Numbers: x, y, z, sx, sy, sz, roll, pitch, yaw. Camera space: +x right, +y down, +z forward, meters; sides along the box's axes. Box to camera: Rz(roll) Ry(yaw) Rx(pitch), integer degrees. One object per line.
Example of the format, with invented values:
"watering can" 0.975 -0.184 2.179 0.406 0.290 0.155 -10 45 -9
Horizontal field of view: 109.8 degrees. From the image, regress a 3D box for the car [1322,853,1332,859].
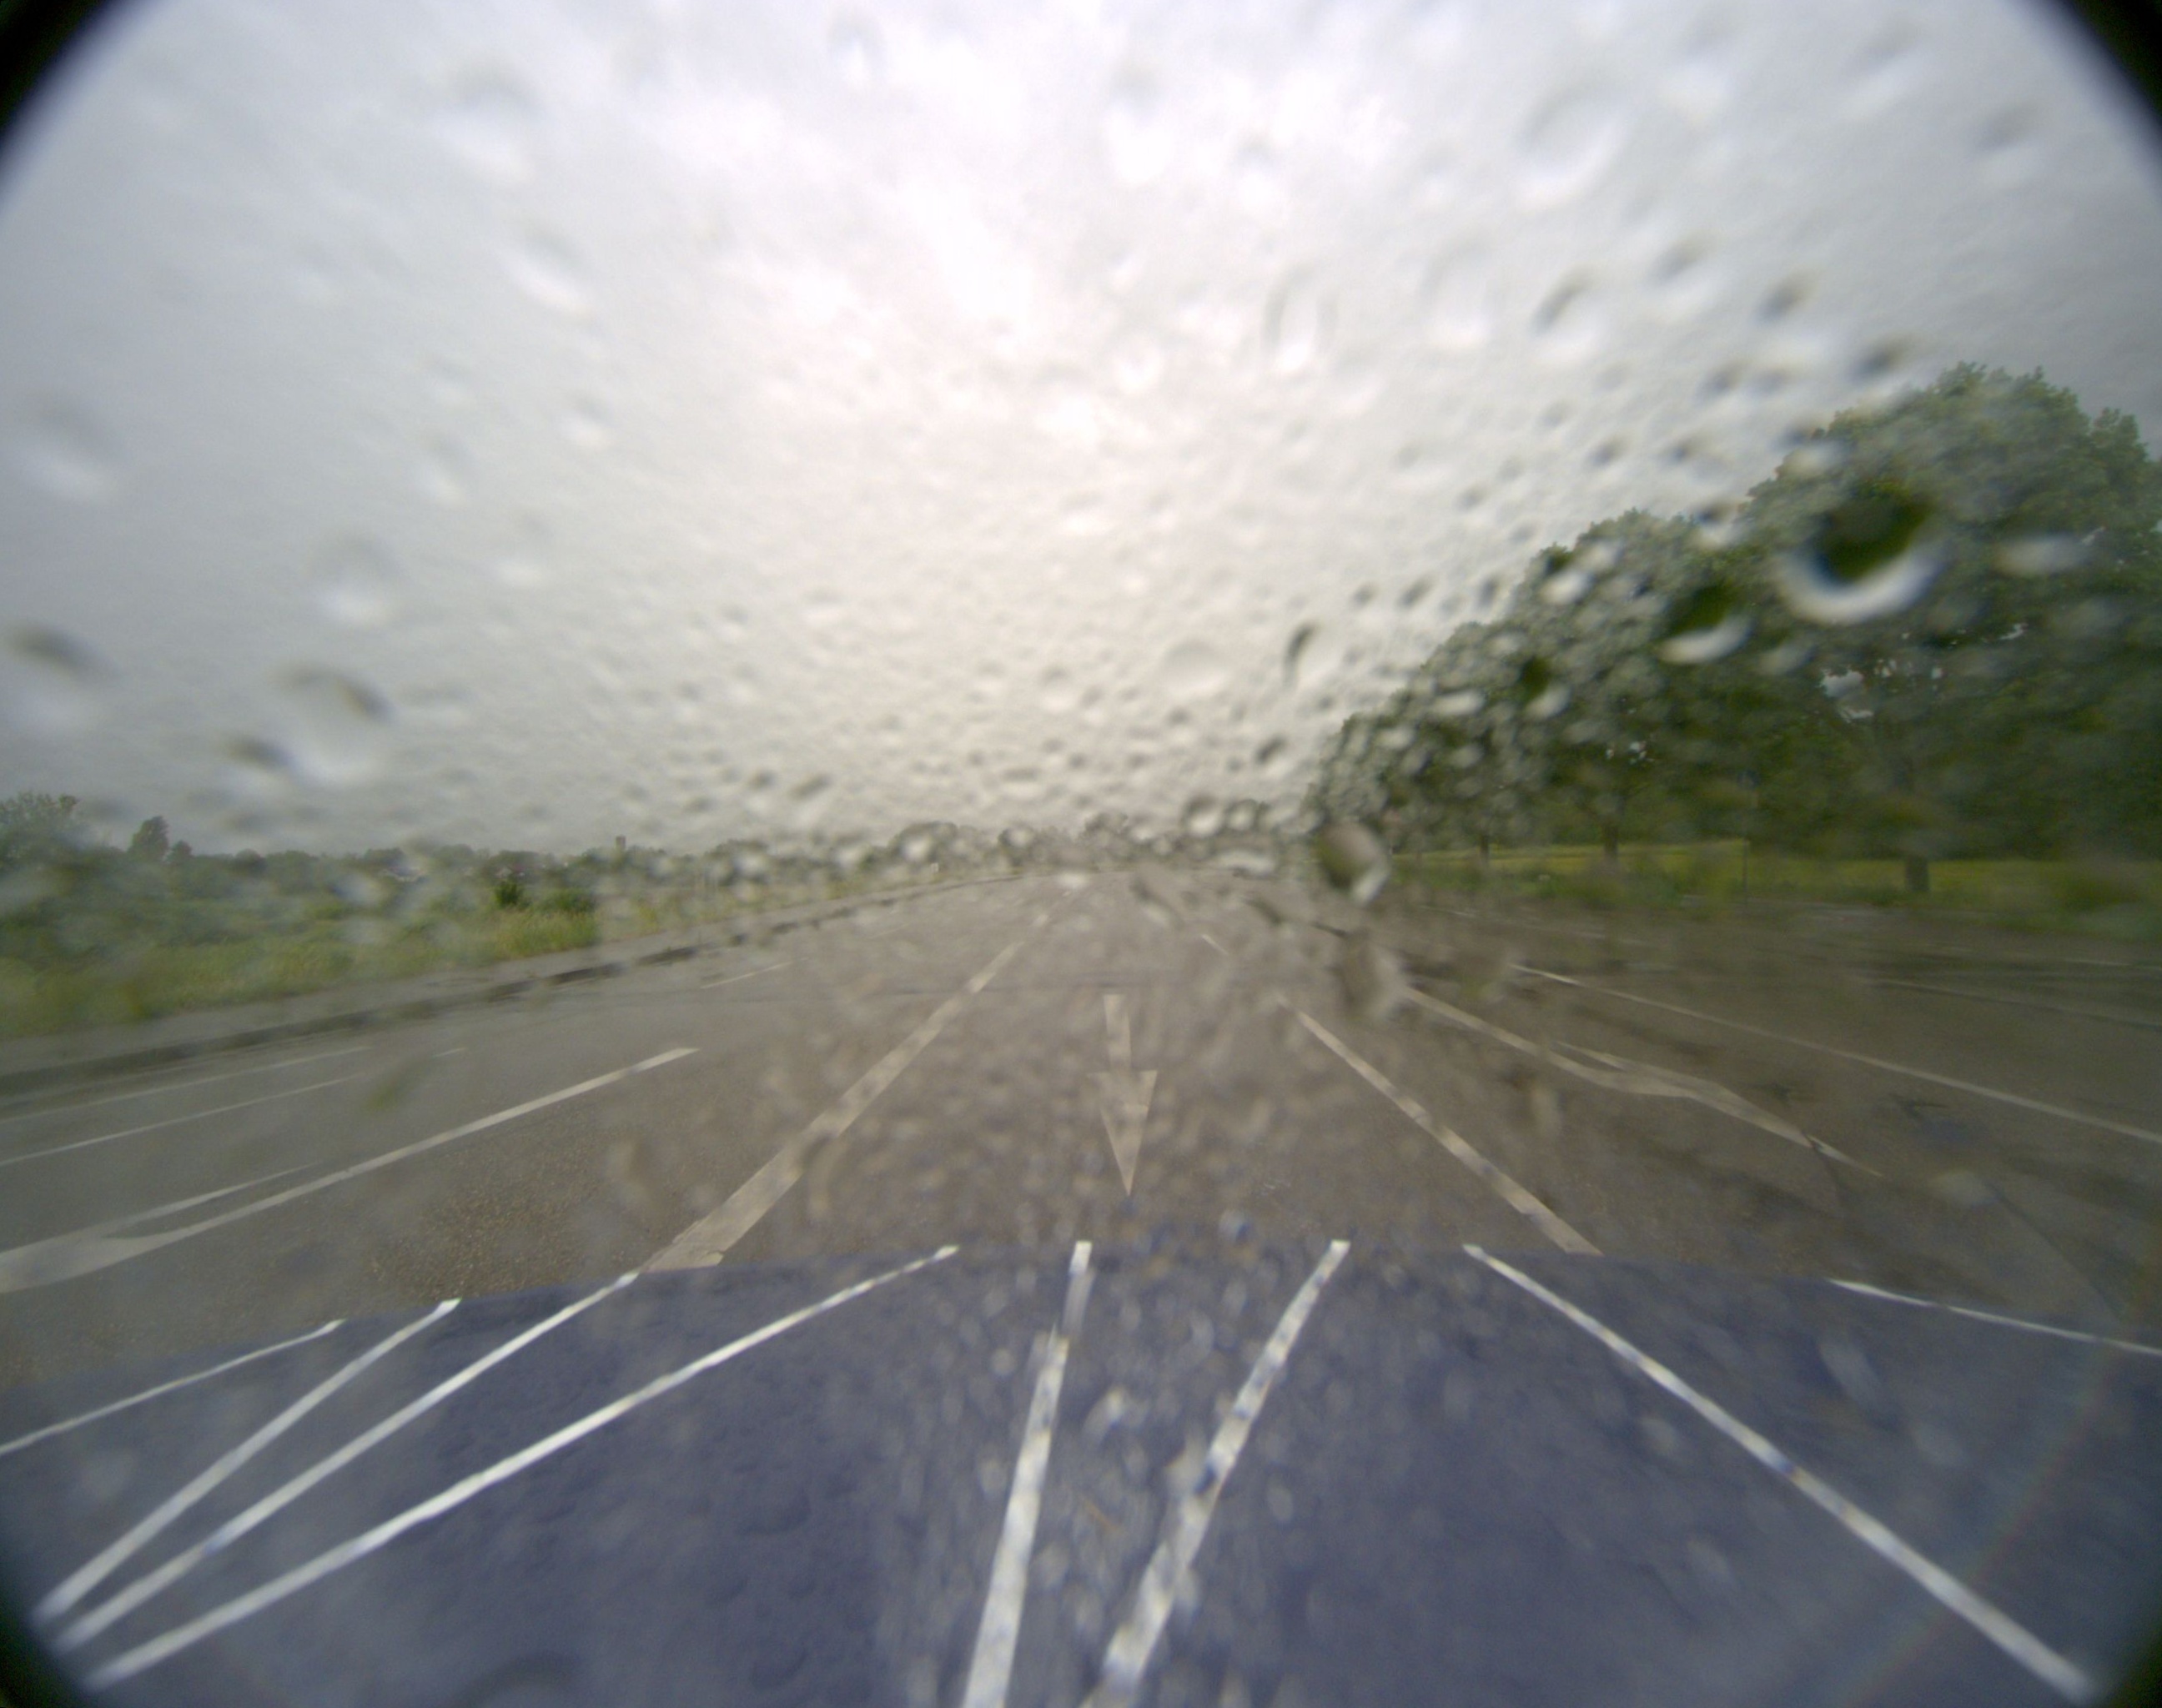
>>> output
"car" 62.202 0.517 191.958 1.880 1.564 4.652 0 1 22
